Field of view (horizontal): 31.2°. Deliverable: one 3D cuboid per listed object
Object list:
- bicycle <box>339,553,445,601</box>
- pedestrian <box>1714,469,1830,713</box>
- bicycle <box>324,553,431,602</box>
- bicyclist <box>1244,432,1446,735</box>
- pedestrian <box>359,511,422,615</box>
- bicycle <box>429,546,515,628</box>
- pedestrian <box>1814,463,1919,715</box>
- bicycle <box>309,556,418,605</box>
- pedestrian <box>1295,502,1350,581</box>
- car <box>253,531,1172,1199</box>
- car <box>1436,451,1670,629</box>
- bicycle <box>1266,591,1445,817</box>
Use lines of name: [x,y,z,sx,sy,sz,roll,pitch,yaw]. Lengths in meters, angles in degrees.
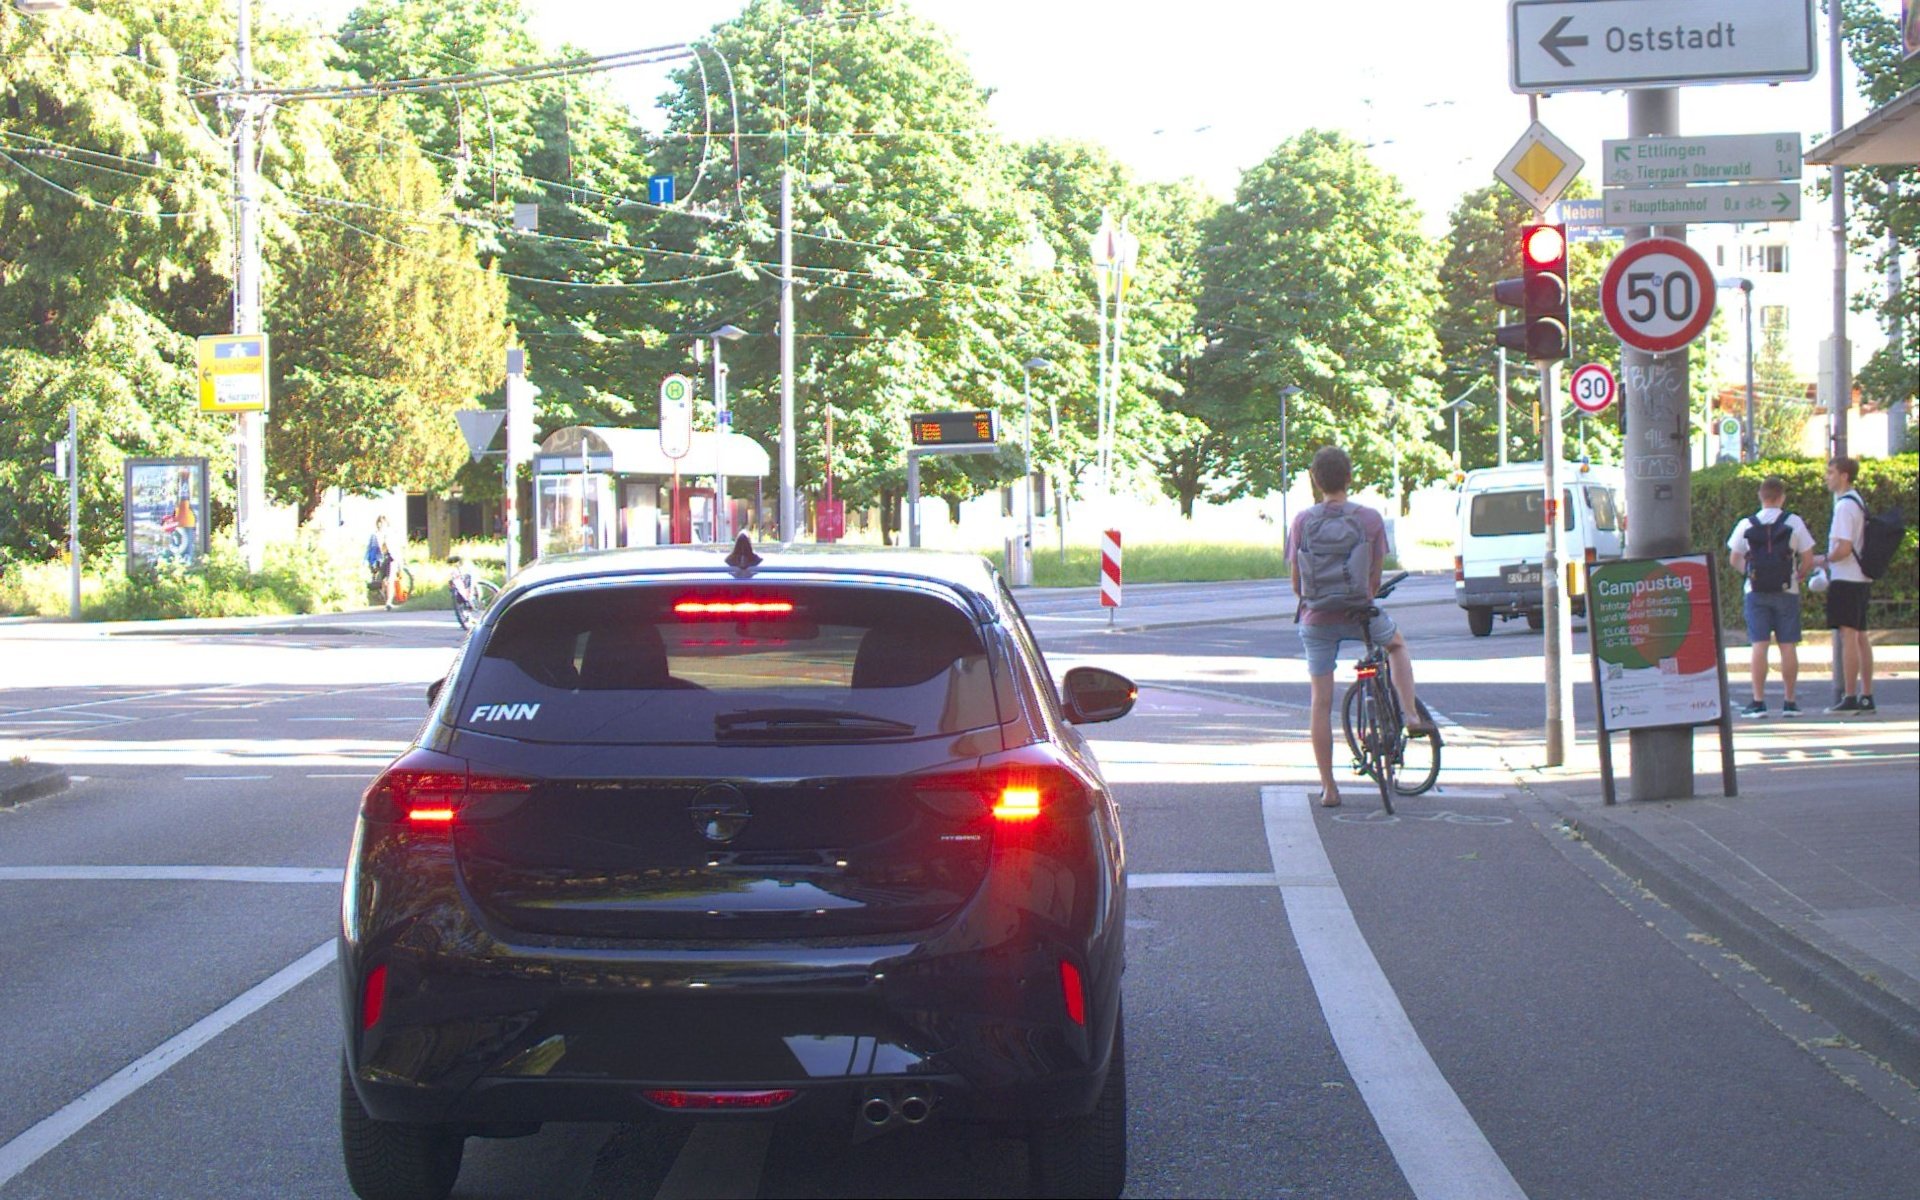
bicycle: [-10.850,-0.438,65.729,1.877,0.903,0.659,0,1,7]
pedestrian: [6.023,-0.073,25.518,0.698,1.786,0.617,-1,1,-1]
bicycle: [-10.989,-0.432,64.858,1.877,0.903,0.659,0,1,7]
bicyclist: [1.983,-0.100,17.868,0.840,1.504,1.369,0,1,-2]
pedestrian: [-9.324,-0.606,56.294,0.727,1.687,0.699,0,2,38]
bicycle: [-6.611,-0.188,46.667,0.825,1.056,1.883,0,1,2]
pedestrian: [6.832,-0.090,25.539,0.704,1.840,0.699,0,2,39]
bicycle: [-11.073,-0.363,63.874,1.877,0.903,0.659,0,1,7]
pedestrian: [8.327,-1.349,78.967,0.959,1.786,0.994,0,1,25]
car: [-0.455,0.562,8.744,1.800,1.436,3.940,-1,1,1]
car: [7.998,-0.786,46.056,2.092,2.270,4.301,1,1,24]
bicycle: [2.034,0.507,17.910,0.667,1.056,2.082,0,1,-1]
